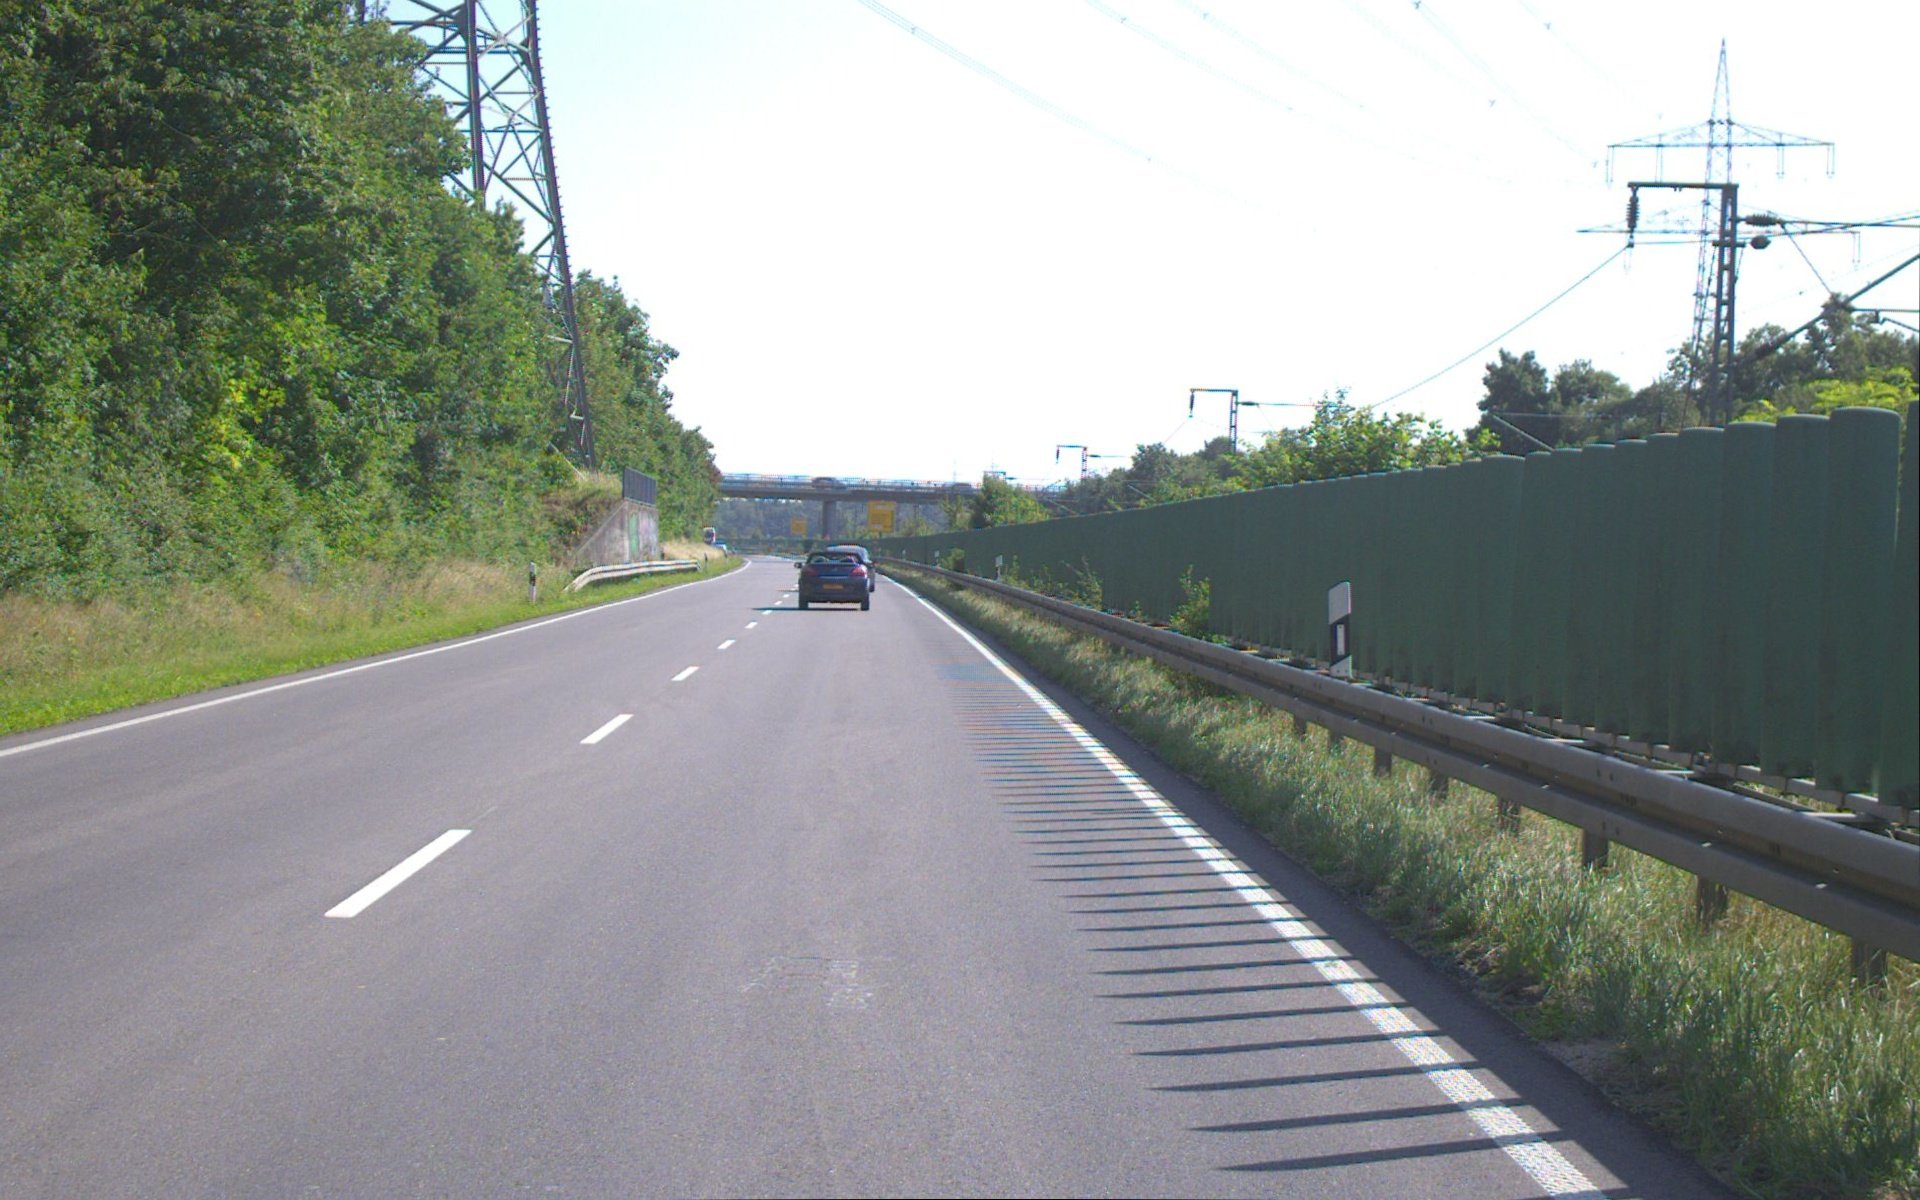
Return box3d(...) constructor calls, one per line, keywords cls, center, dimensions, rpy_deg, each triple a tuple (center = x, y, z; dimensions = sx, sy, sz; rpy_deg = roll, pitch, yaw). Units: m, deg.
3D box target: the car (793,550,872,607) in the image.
box3d(cls="car", center=(-2.983, -0.509, 80.064), dimensions=(1.663, 1.257, 4.001), rpy_deg=(1, 1, -4))
